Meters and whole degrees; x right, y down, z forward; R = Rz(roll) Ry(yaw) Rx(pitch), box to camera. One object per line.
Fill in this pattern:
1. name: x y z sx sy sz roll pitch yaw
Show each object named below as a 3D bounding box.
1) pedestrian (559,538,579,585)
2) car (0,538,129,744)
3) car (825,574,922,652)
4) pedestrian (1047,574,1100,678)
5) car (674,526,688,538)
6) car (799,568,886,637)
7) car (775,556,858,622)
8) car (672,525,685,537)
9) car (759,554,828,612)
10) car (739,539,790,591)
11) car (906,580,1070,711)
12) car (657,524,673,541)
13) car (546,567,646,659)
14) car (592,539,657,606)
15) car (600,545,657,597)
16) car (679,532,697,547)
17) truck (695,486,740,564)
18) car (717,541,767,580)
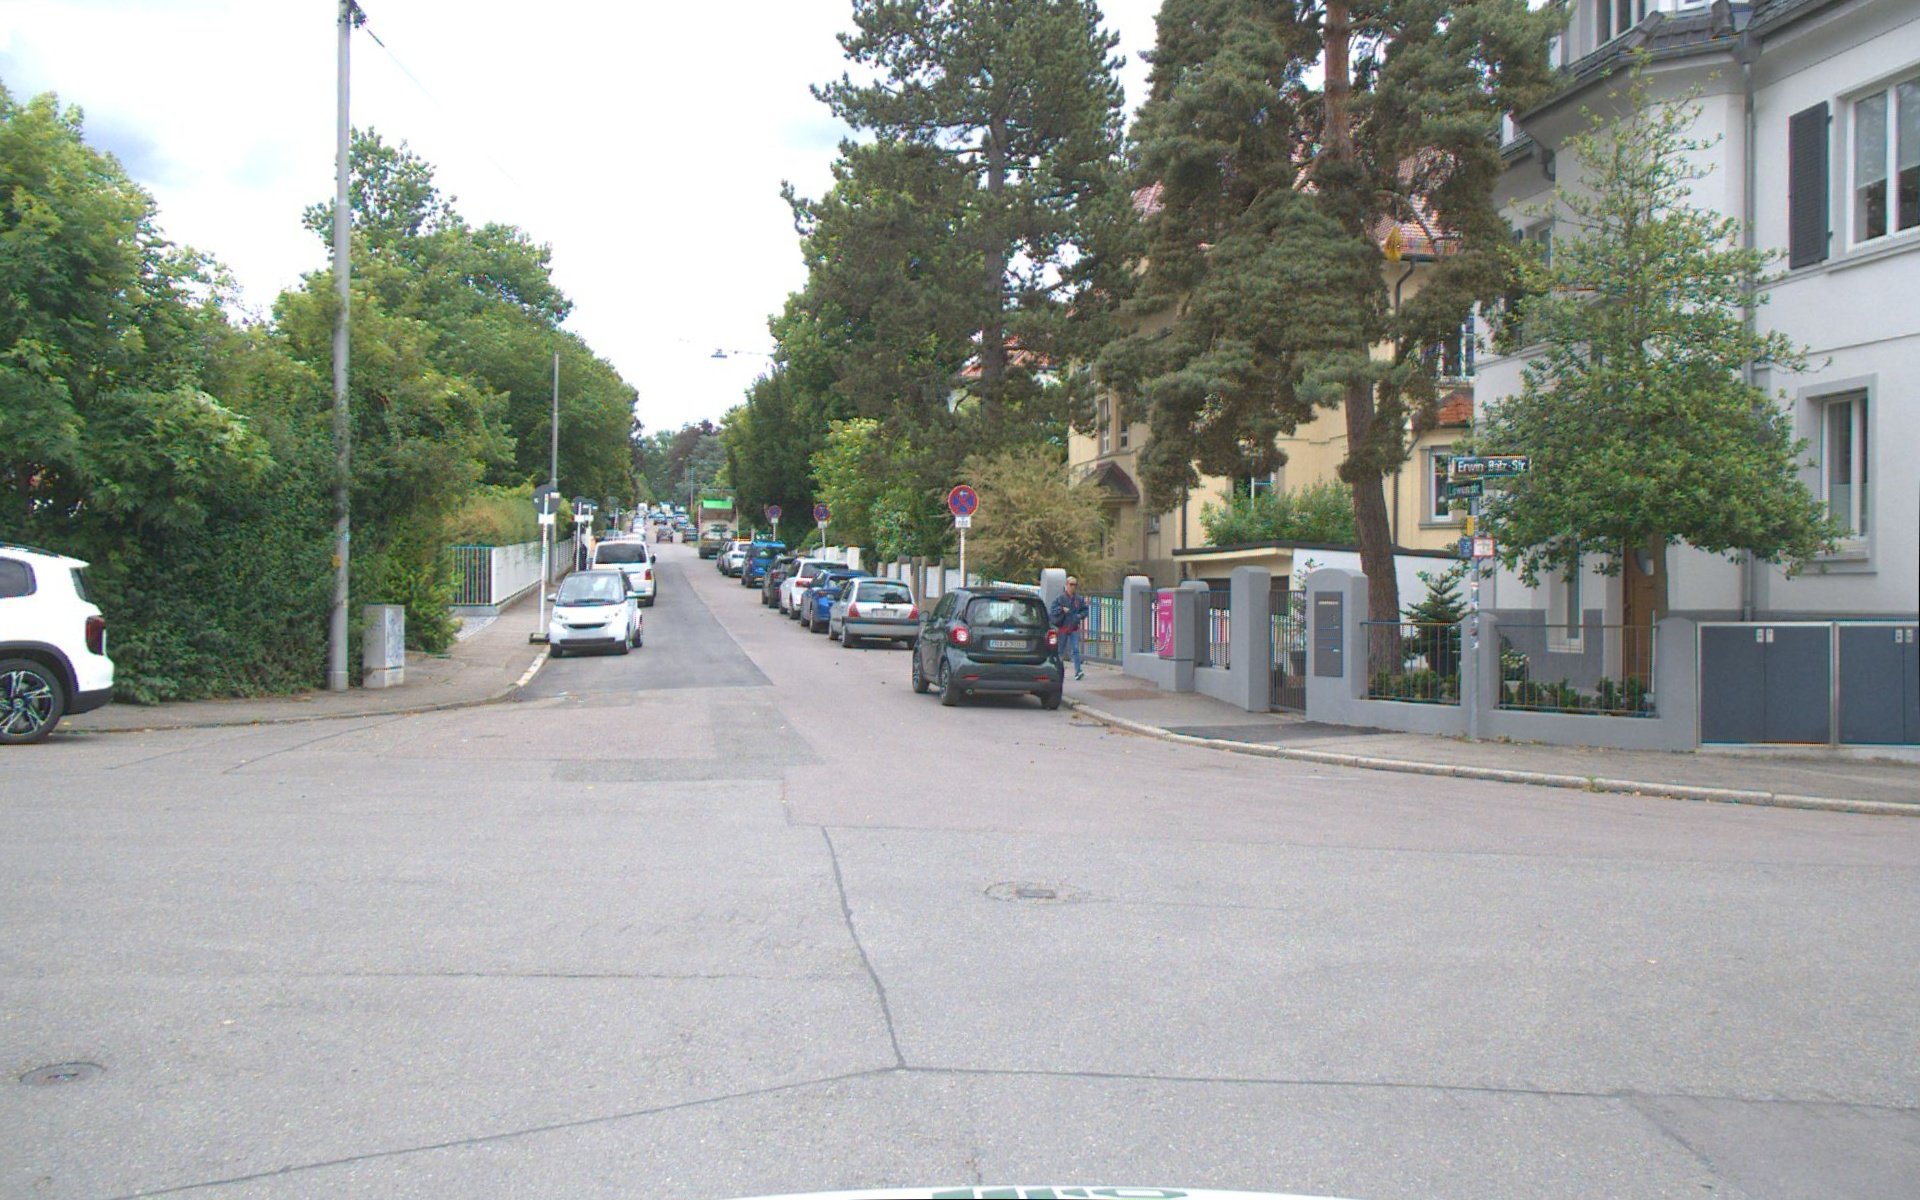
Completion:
1. pedestrian: -17.352 -1.707 73.349 0.797 2.048 0.858 1 2 -10
2. car: -9.351 0.260 13.190 1.803 1.684 4.486 3 0 42
3. car: -1.883 0.234 35.113 1.545 1.424 3.647 2 2 -11
4. pedestrian: 1.801 0.402 26.354 0.668 1.604 0.906 -2 1 -5
5. car: -36.742 -8.941 217.763 1.778 1.358 3.623 2 3 -12
6. car: -2.903 0.023 40.072 1.618 1.483 4.042 2 1 -11
7. car: -4.056 -0.337 46.274 1.754 1.631 4.292 2 2 -12
8. car: -38.504 -9.456 226.448 1.757 1.555 3.727 1 3 -9
9. car: -5.276 -0.570 52.008 1.719 1.635 4.065 2 1 -11
10. car: -7.839 -1.433 66.074 1.653 1.860 4.146 2 2 -12
11. car: 0.325 0.586 22.914 1.545 1.558 2.858 3 1 -13
12. car: -30.932 -7.094 173.391 1.605 1.730 3.485 1 3 -12
13. car: -6.997 0.220 31.985 1.414 1.579 2.768 -2 3 -4
14. car: -10.342 -0.897 51.188 1.821 1.946 4.608 -2 2 -11
15. car: -11.412 -1.021 56.788 1.760 1.651 4.330 -1 3 -13
16. car: -28.814 -6.372 175.205 1.747 1.514 3.989 0 2 -12
17. truck: -15.675 -4.828 106.609 2.479 4.830 7.171 1 2 -10
18. car: -10.138 -1.839 76.571 1.728 1.633 4.559 1 2 -14
